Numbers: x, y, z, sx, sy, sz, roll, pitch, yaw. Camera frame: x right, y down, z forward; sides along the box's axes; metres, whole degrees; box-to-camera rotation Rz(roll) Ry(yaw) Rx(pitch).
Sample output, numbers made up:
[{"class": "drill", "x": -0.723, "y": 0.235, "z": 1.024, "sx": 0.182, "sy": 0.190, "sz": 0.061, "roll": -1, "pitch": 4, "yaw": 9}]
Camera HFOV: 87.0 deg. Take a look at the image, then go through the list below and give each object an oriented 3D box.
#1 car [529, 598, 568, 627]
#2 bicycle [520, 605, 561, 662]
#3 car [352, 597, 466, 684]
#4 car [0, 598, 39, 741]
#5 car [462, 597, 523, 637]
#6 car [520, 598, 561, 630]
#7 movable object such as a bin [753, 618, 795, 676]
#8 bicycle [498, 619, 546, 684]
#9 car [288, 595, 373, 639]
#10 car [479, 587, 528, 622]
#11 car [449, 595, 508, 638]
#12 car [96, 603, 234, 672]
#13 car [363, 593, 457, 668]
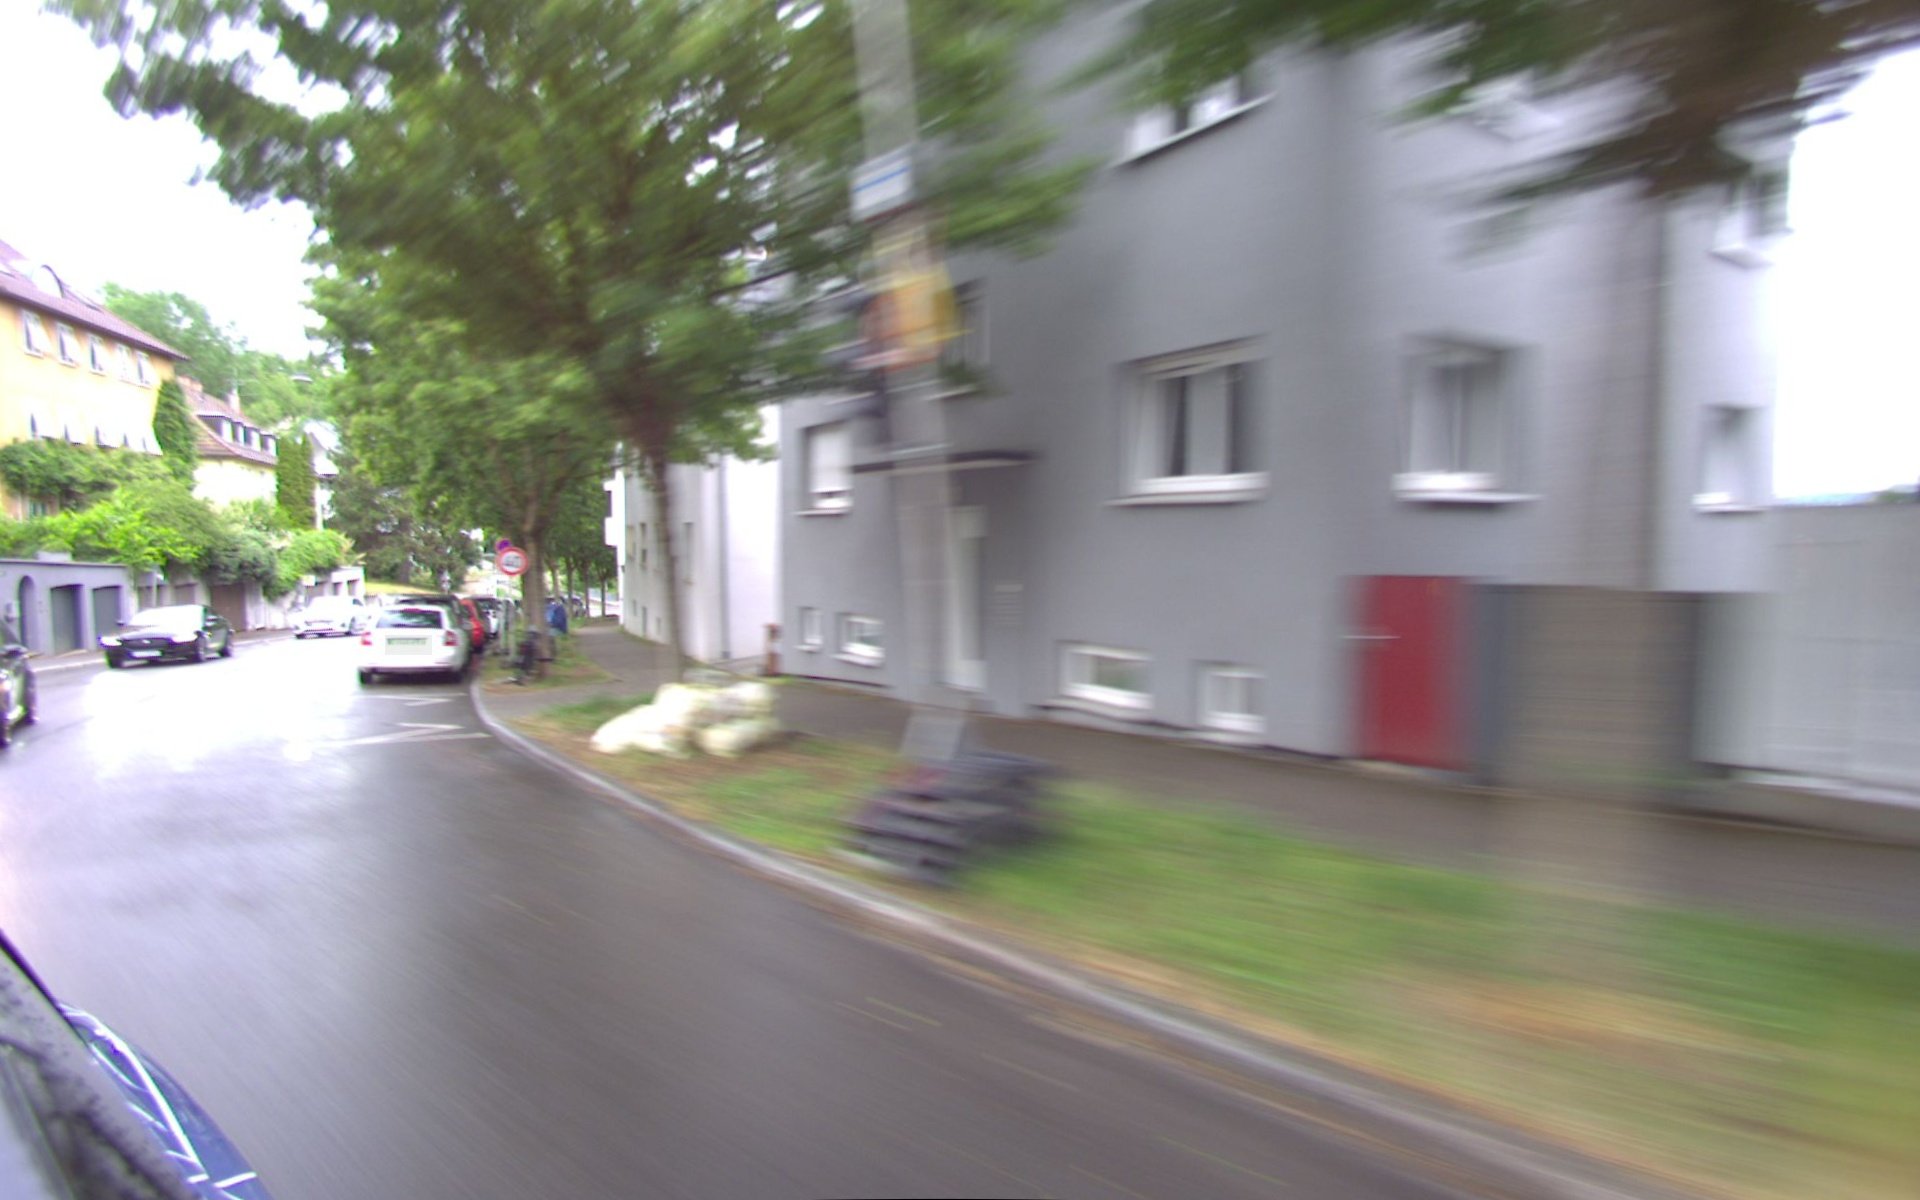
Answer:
[{"class": "car", "x": -25.661, "y": 0.756, "z": 63.262, "sx": 1.571, "sy": 1.671, "sz": 3.934, "roll": 4, "pitch": 0, "yaw": -14}, {"class": "bicycle", "x": -9.829, "y": 0.763, "z": 23.755, "sx": 0.610, "sy": 1.261, "sz": 1.911, "roll": -1, "pitch": 0, "yaw": -15}, {"class": "car", "x": -10.729, "y": 0.722, "z": 19.936, "sx": 1.658, "sy": 1.520, "sz": 4.330, "roll": 0, "pitch": 0, "yaw": -25}, {"class": "car", "x": -11.202, "y": 0.750, "z": 10.839, "sx": 1.553, "sy": 1.463, "sz": 3.595, "roll": -2, "pitch": 2, "yaw": -36}, {"class": "car", "x": -19.729, "y": 0.681, "z": 42.863, "sx": 1.641, "sy": 1.500, "sz": 4.489, "roll": 2, "pitch": 0, "yaw": -16}, {"class": "car", "x": -24.084, "y": 0.772, "z": 58.187, "sx": 1.596, "sy": 1.671, "sz": 3.935, "roll": 3, "pitch": 0, "yaw": -15}, {"class": "movable object such as a bin", "x": -3.238, "y": 0.802, "z": 17.585, "sx": 0.646, "sy": 0.958, "sz": 0.646, "roll": -1, "pitch": 0, "yaw": -15}, {"class": "bicycle", "x": -7.758, "y": 0.887, "z": 17.962, "sx": 0.429, "sy": 1.037, "sz": 1.910, "roll": -1, "pitch": 0, "yaw": -13}, {"class": "car", "x": -25.466, "y": 0.642, "z": 41.083, "sx": 1.979, "sy": 1.674, "sz": 4.460, "roll": 0, "pitch": 0, "yaw": -19}, {"class": "car", "x": -21.308, "y": 0.213, "z": 47.314, "sx": 1.552, "sy": 1.500, "sz": 3.480, "roll": 2, "pitch": -1, "yaw": -16}, {"class": "car", "x": -18.093, "y": 0.594, "z": 38.140, "sx": 1.533, "sy": 1.522, "sz": 3.394, "roll": 1, "pitch": 0, "yaw": -18}, {"class": "car", "x": -19.416, "y": 0.893, "z": 24.921, "sx": 1.777, "sy": 1.500, "sz": 4.030, "roll": -2, "pitch": -1, "yaw": -25}, {"class": "car", "x": -13.087, "y": 0.672, "z": 24.282, "sx": 1.658, "sy": 1.621, "sz": 4.592, "roll": 0, "pitch": 0, "yaw": -24}]
